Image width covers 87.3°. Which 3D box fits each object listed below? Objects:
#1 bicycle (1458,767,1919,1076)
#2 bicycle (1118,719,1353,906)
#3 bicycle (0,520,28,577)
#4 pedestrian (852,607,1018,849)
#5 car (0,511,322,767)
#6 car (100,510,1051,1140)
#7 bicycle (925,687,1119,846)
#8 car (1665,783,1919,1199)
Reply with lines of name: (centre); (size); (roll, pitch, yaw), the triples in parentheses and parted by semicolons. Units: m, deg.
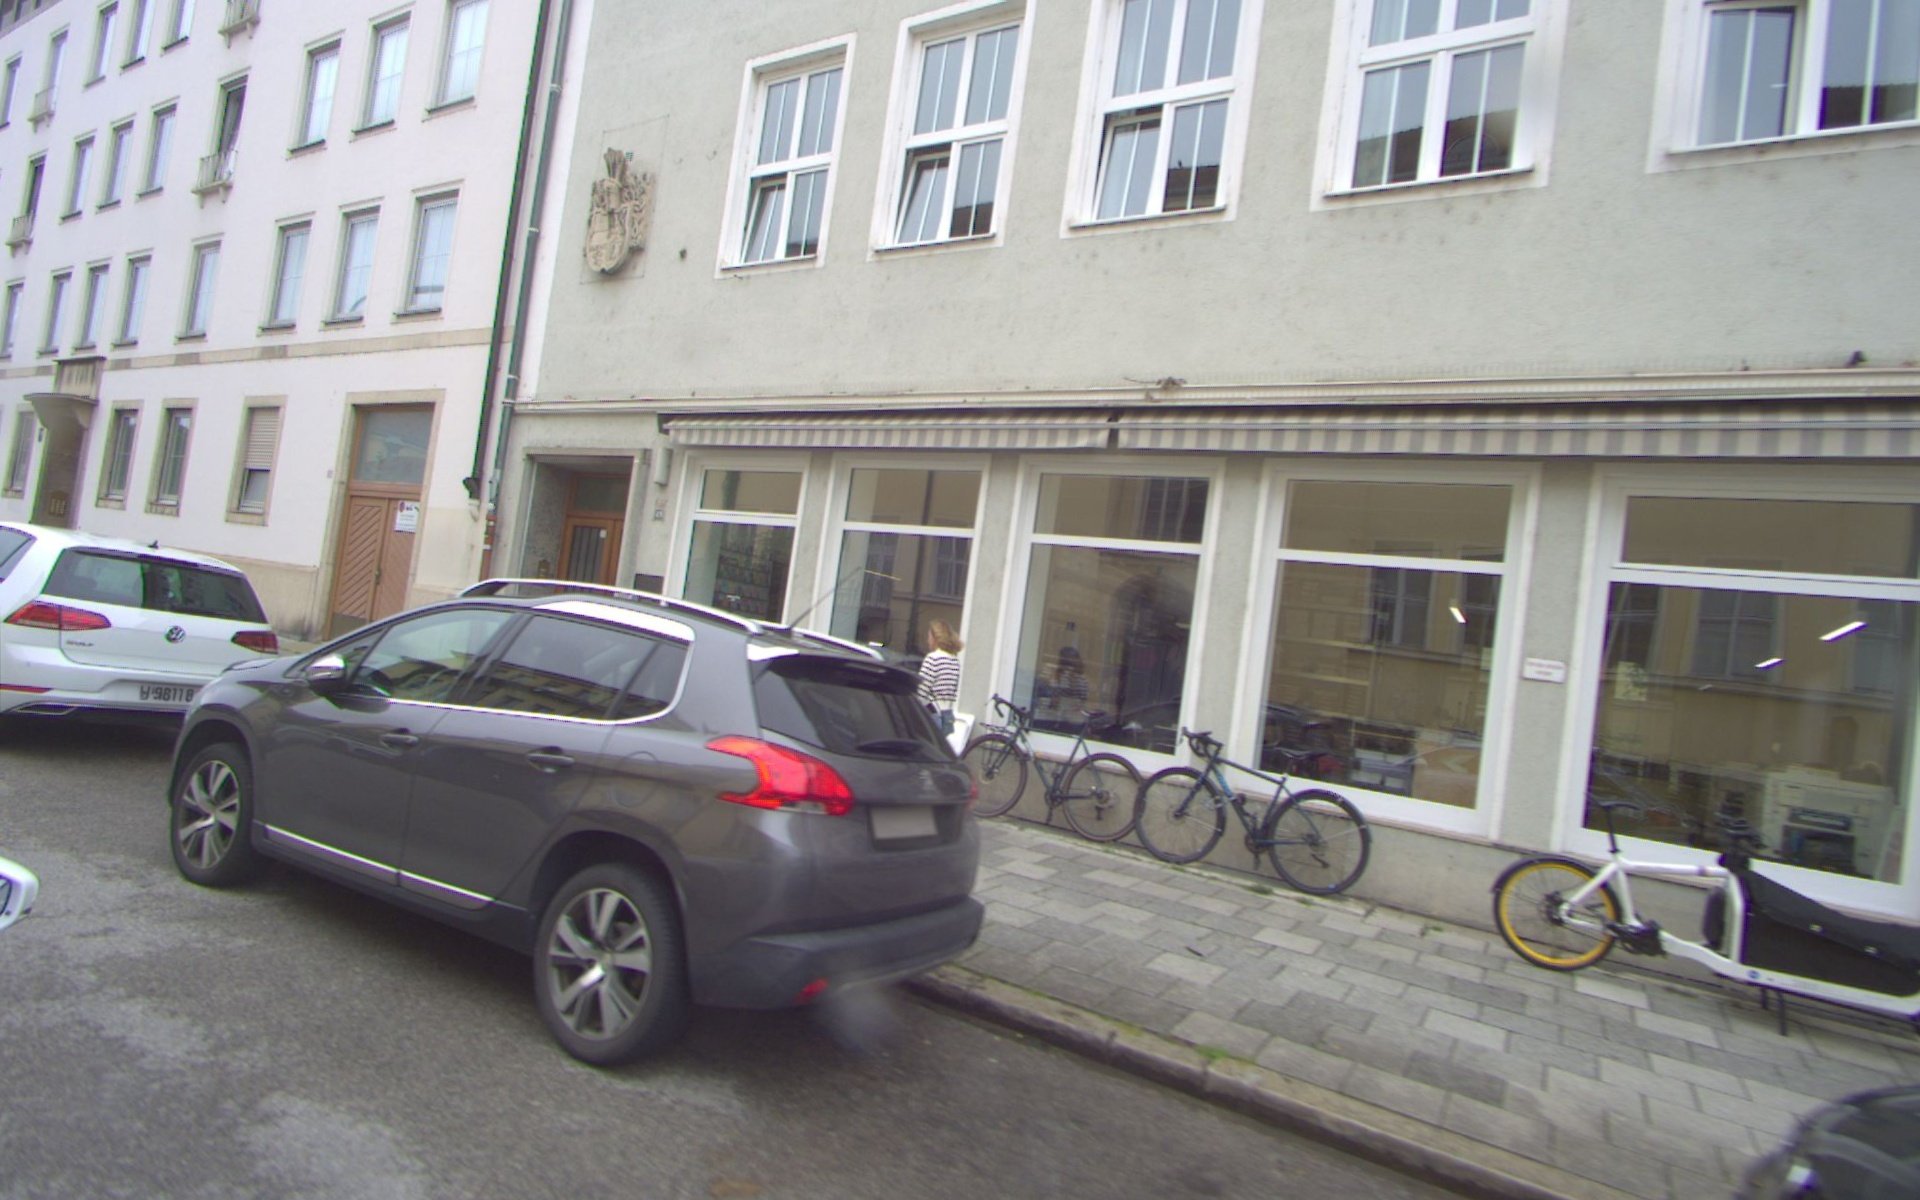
bicycle: (4.171, 1.692, 5.527); (2.418, 1.087, 0.771); (7, -2, 32)
bicycle: (1.961, 1.483, 7.263); (1.497, 1.016, 0.331); (7, -1, 33)
bicycle: (-20.862, -1.167, 21.580); (1.994, 1.139, 0.660); (6, -1, 32)
pedestrian: (-0.181, 0.946, 7.679); (0.814, 1.644, 0.735); (7, -1, 32)
car: (-6.948, 0.174, 7.761); (4.016, 1.478, 1.698); (6, -5, 32)
car: (-1.848, 0.687, 4.639); (4.012, 1.599, 1.699); (7, -5, 28)
bicycle: (0.486, 1.329, 8.266); (1.496, 1.016, 0.331); (7, -1, 32)
car: (3.303, 1.314, 1.082); (4.017, 1.465, 1.697); (6, -5, 33)
